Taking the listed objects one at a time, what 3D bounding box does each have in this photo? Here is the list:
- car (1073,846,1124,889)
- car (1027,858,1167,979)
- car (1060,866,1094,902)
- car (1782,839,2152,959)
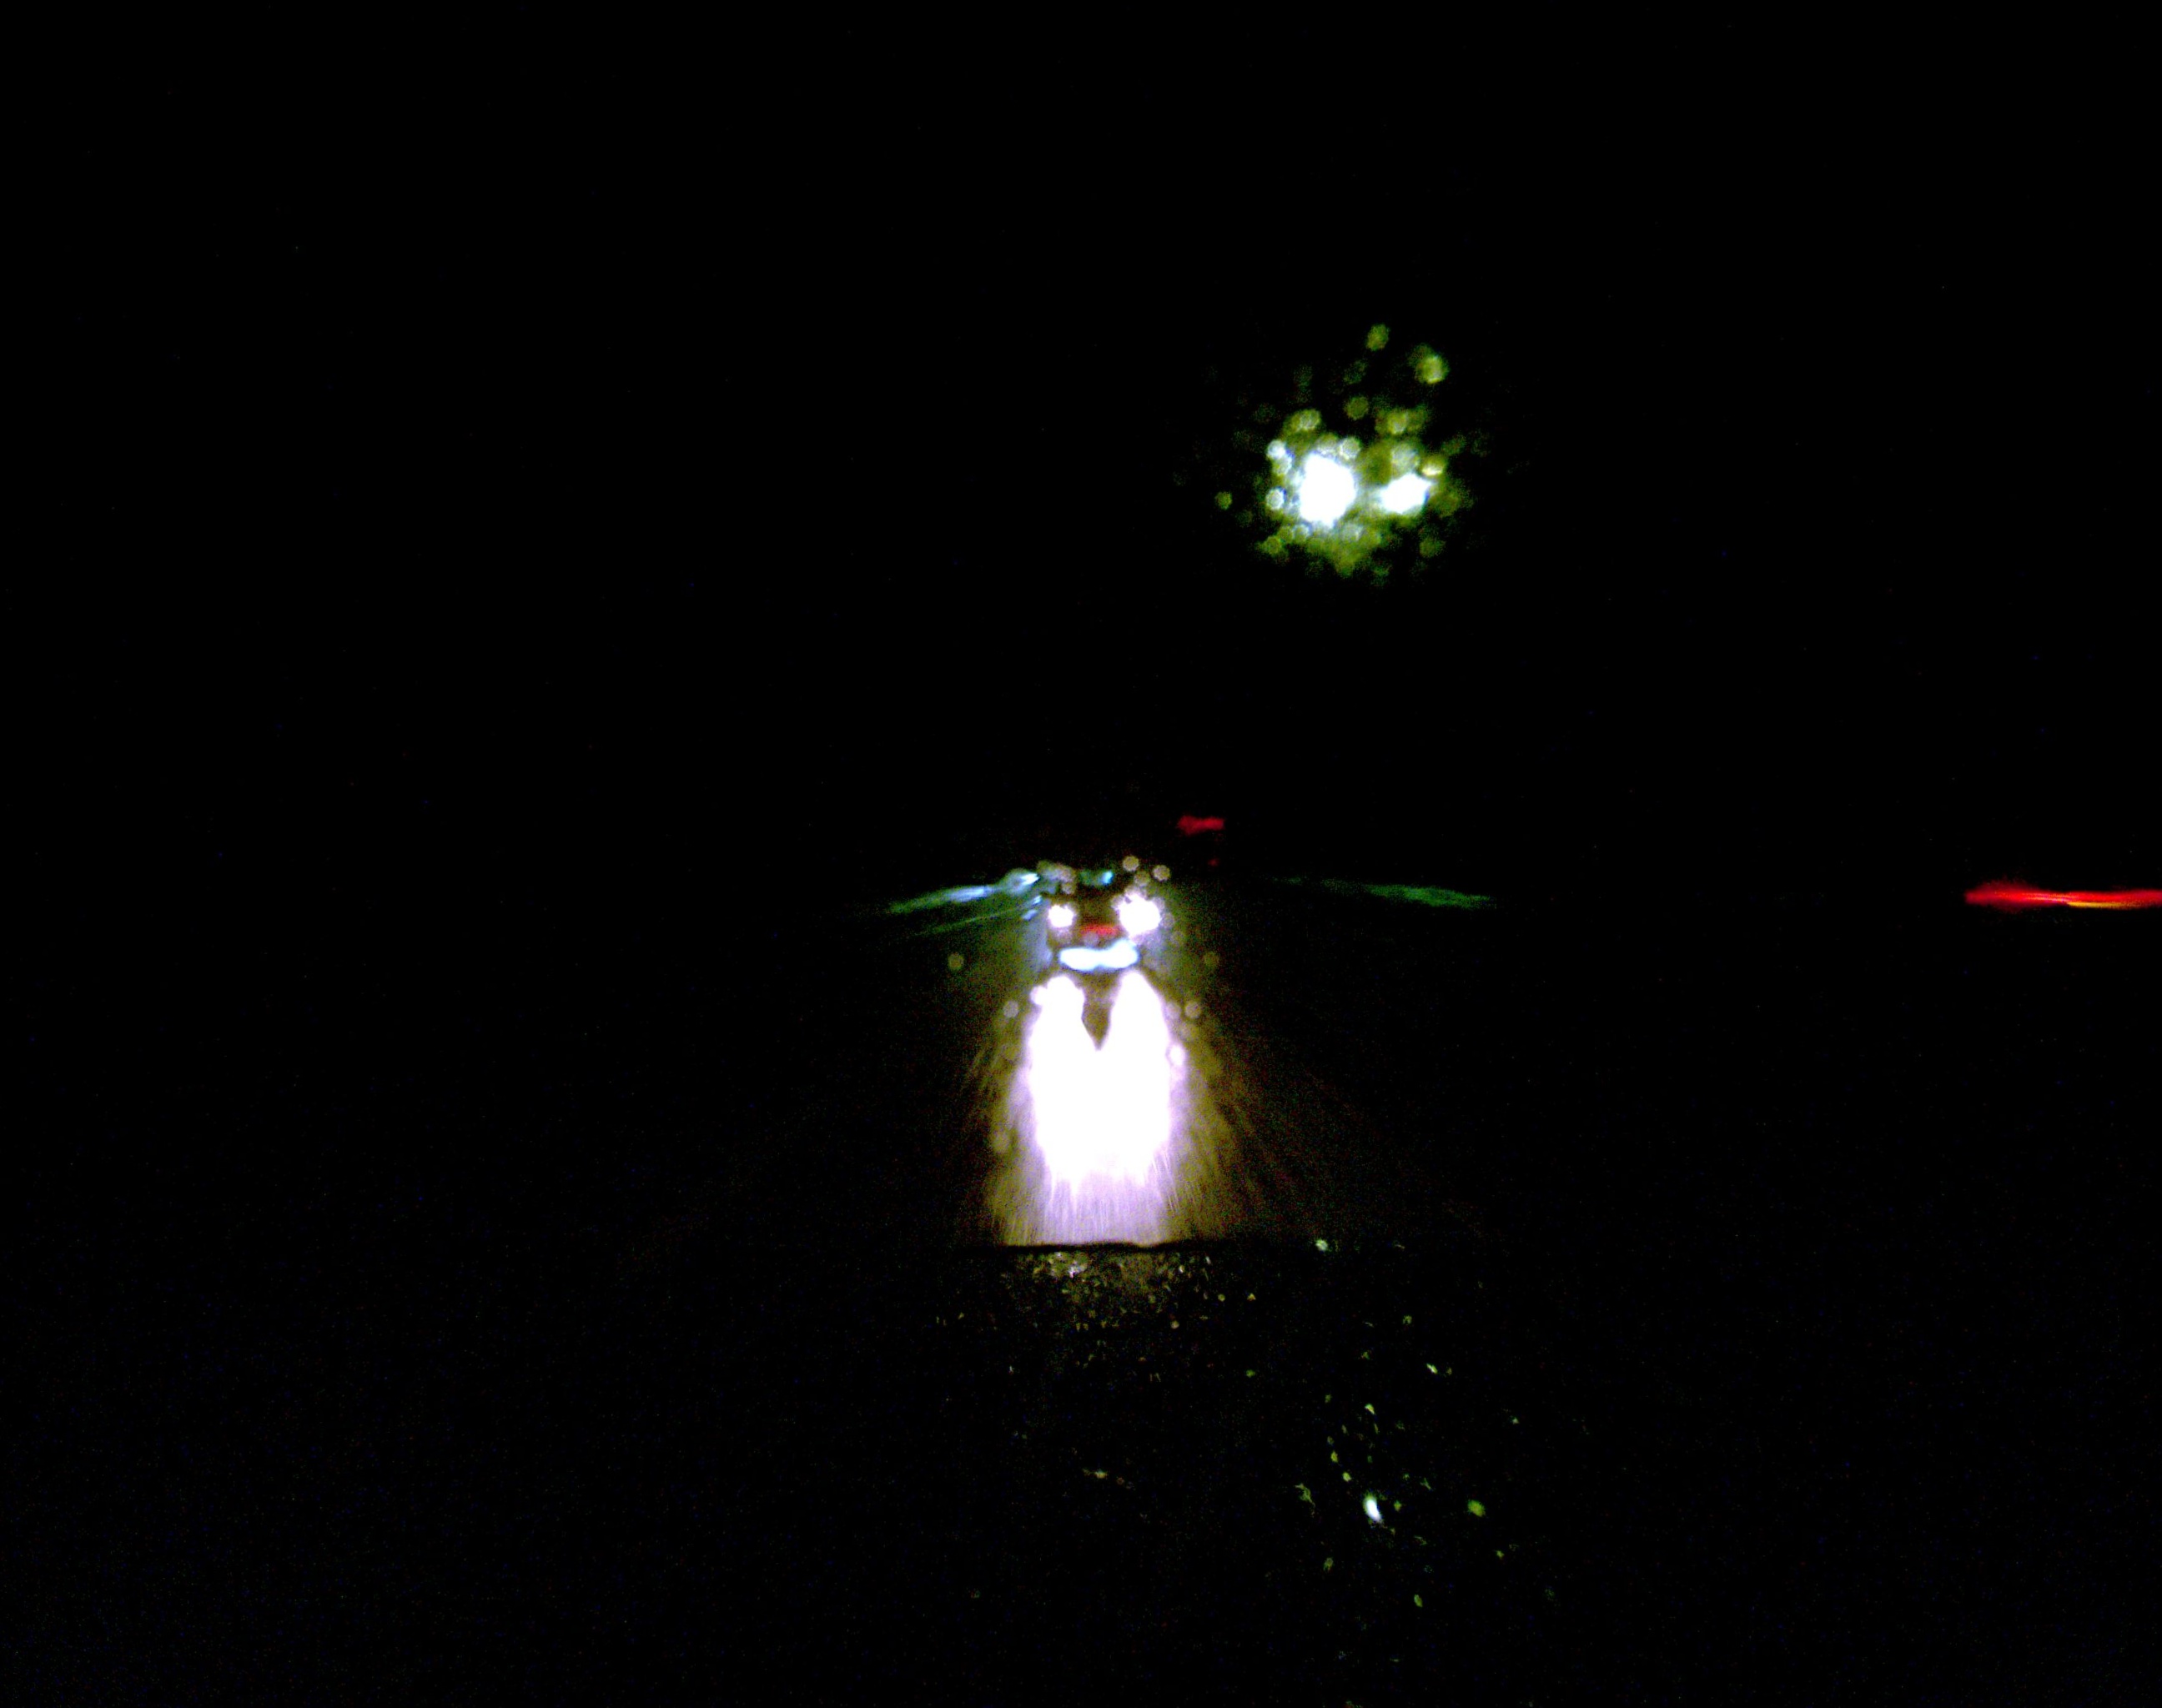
[{"bbox_3d":[0.714,0.487,30.668,1.849,1.441,3.874,-3,1,1],"label":"car"},{"bbox_3d":[0.373,0.905,12.406,1.848,1.441,4.000,-3,1,5],"label":"car"},{"bbox_3d":[-0.232,1.698,43.876,1.784,1.696,3.999,-3,1,0],"label":"car"},{"bbox_3d":[13.988,0.587,12.398,1.604,1.543,3.833,-3,1,2],"label":"car"}]
